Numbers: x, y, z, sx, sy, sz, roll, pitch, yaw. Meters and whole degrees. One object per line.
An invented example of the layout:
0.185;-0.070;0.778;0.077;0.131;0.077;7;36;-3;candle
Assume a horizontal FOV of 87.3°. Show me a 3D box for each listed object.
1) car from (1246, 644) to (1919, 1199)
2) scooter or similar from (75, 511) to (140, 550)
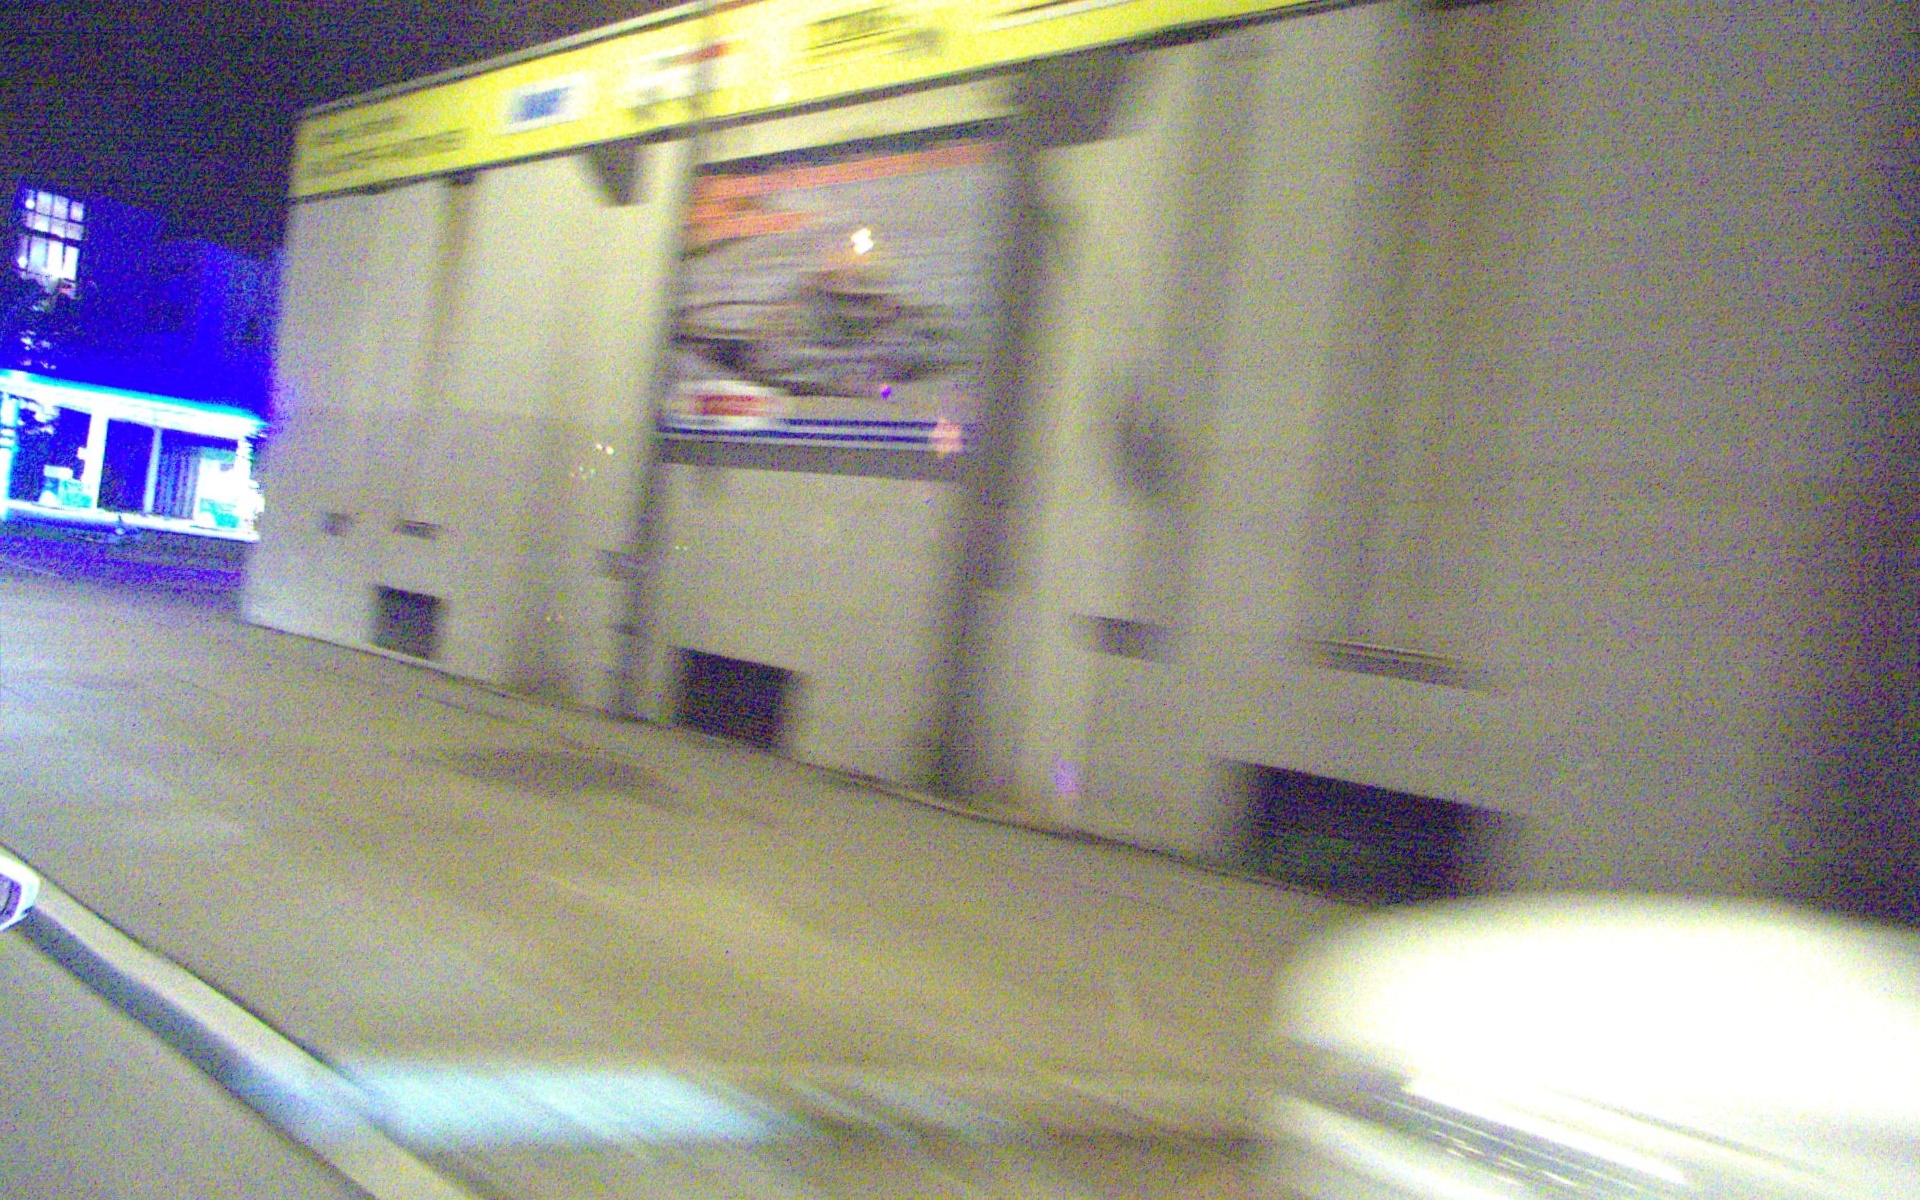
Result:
2.920;1.119;1.523;4.469;1.507;1.863;6;-1;29;car
-27.664;-2.245;32.669;0.704;1.105;1.678;7;1;-6;scooter or similar
